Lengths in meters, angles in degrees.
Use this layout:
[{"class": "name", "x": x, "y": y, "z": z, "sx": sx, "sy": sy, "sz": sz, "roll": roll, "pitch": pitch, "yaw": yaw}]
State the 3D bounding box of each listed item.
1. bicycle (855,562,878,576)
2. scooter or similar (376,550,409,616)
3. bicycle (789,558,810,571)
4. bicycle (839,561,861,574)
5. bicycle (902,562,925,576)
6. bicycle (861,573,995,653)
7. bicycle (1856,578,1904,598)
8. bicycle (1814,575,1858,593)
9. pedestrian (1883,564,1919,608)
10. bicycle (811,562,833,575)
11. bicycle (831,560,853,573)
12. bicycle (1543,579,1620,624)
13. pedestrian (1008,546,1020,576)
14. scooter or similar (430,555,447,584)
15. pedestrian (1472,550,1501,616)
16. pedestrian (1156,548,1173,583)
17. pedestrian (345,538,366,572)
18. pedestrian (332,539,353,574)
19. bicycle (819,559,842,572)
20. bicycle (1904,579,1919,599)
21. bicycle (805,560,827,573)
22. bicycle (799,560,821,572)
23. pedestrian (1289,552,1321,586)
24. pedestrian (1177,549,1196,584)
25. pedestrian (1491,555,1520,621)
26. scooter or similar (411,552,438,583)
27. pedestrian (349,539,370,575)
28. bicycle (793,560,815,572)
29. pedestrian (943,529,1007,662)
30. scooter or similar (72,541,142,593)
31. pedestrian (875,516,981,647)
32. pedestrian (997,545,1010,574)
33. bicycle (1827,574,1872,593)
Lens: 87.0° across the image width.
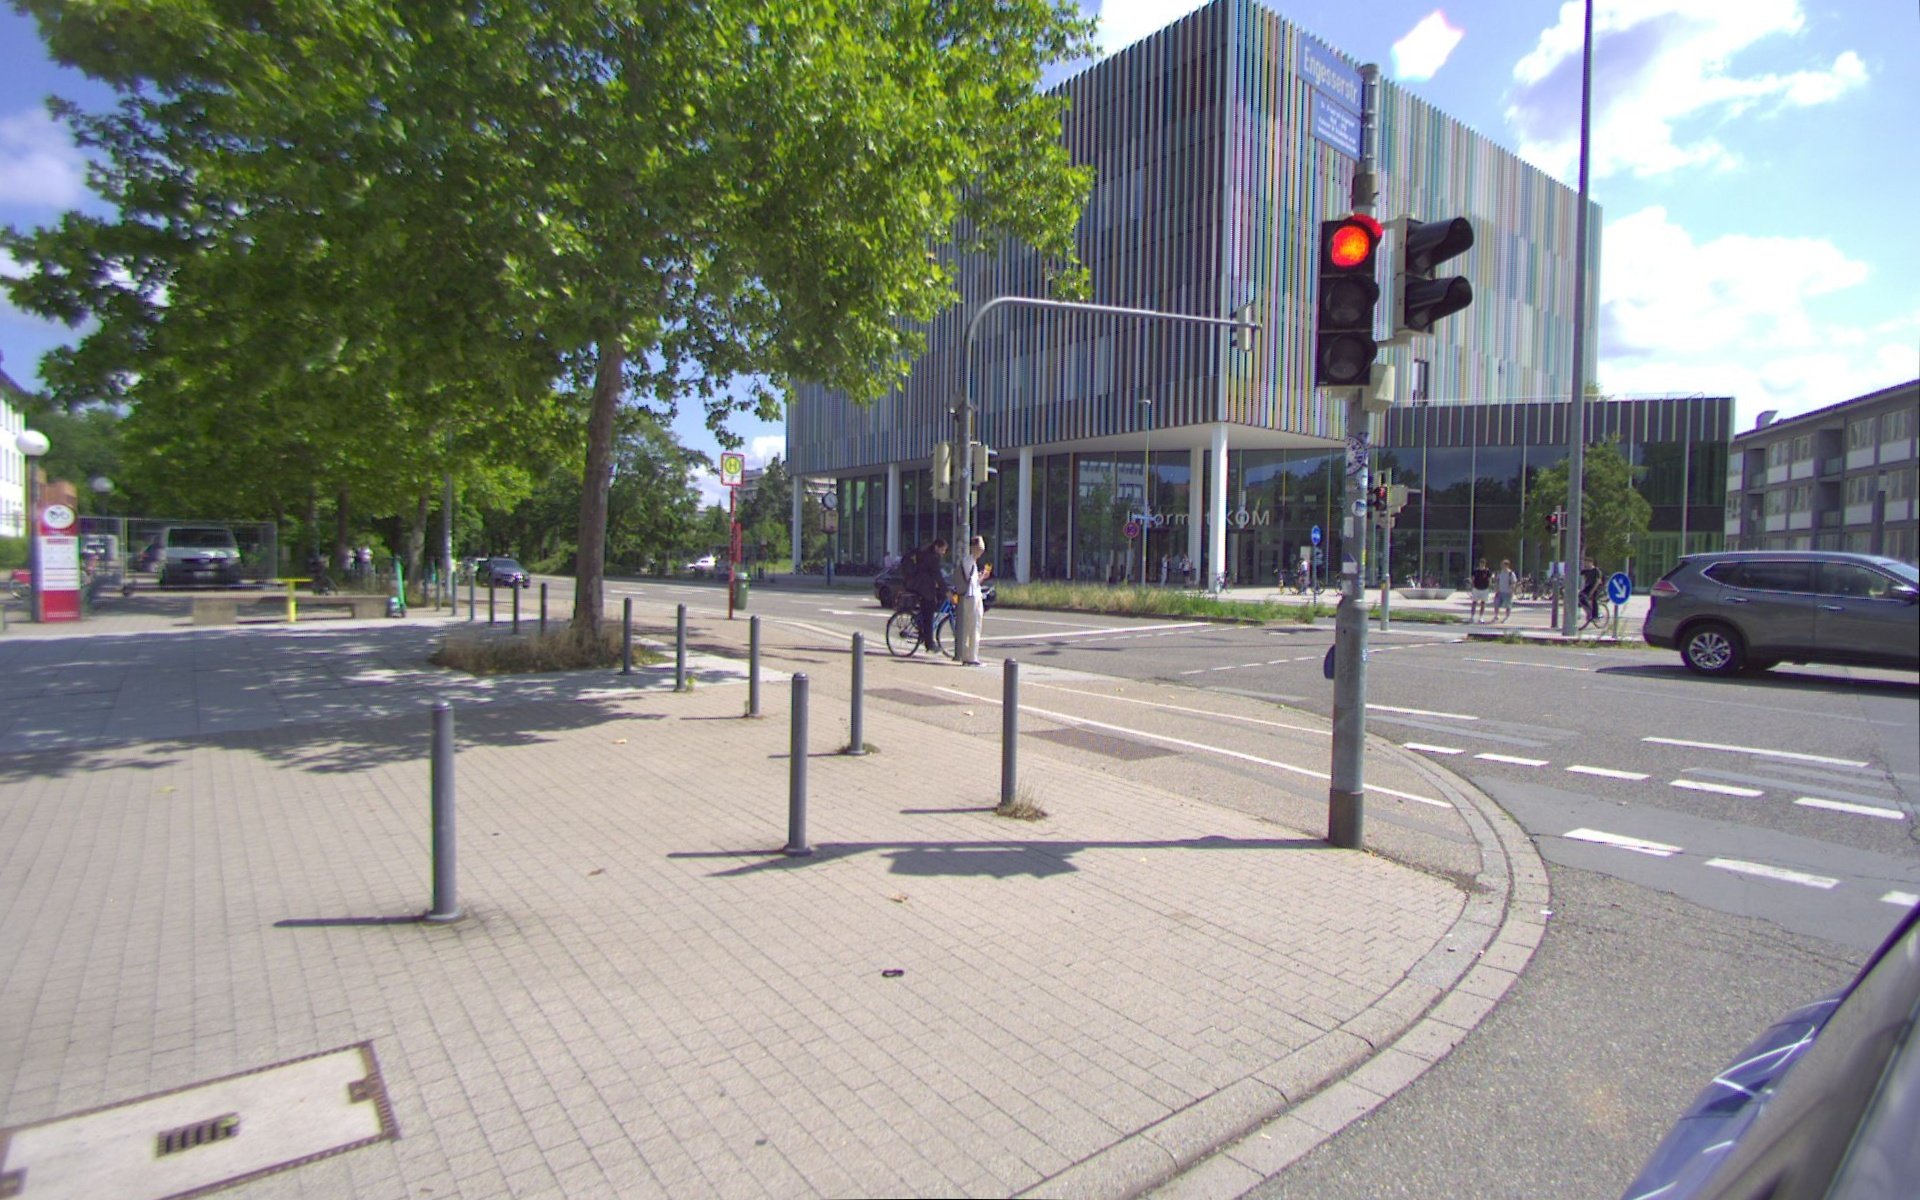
[{"class": "bicycle", "x": -6.892, "y": -2.291, "z": 74.558, "sx": 1.753, "sy": 0.967, "sz": 0.433, "roll": -3, "pitch": 4, "yaw": -38}, {"class": "scooter or similar", "x": -10.579, "y": -0.328, "z": 18.855, "sx": 0.347, "sy": 1.179, "sz": 1.192, "roll": -2, "pitch": 4, "yaw": -37}, {"class": "bicycle", "x": -13.081, "y": -2.910, "z": 82.547, "sx": 1.753, "sy": 0.967, "sz": 0.433, "roll": -3, "pitch": 4, "yaw": -38}, {"class": "bicycle", "x": -8.314, "y": -2.487, "z": 76.558, "sx": 1.753, "sy": 0.967, "sz": 0.433, "roll": -3, "pitch": 4, "yaw": -38}, {"class": "bicycle", "x": -3.186, "y": -2.139, "z": 69.434, "sx": 1.514, "sy": 0.967, "sz": 0.374, "roll": -2, "pitch": 3, "yaw": -23}, {"class": "bicycle", "x": -0.471, "y": 0.211, "z": 15.365, "sx": 1.856, "sy": 1.086, "sz": 0.818, "roll": 4, "pitch": 1, "yaw": -38}, {"class": "bicycle", "x": 48.895, "y": -0.651, "z": 53.796, "sx": 1.755, "sy": 0.966, "sz": 0.525, "roll": 2, "pitch": 4, "yaw": 25}, {"class": "bicycle", "x": 49.818, "y": -0.906, "z": 57.575, "sx": 1.755, "sy": 0.966, "sz": 0.525, "roll": 2, "pitch": 4, "yaw": 25}, {"class": "pedestrian", "x": 39.244, "y": -0.606, "z": 42.215, "sx": 0.834, "sy": 1.812, "sz": 0.672, "roll": 2, "pitch": 2, "yaw": 23}, {"class": "bicycle", "x": -10.902, "y": -2.462, "z": 79.773, "sx": 1.753, "sy": 0.967, "sz": 0.433, "roll": -3, "pitch": 4, "yaw": -38}, {"class": "bicycle", "x": -8.995, "y": -2.546, "z": 77.217, "sx": 1.753, "sy": 0.967, "sz": 0.433, "roll": -3, "pitch": 4, "yaw": -38}, {"class": "bicycle", "x": 16.678, "y": 0.031, "z": 27.193, "sx": 1.653, "sy": 1.138, "sz": 0.689, "roll": 2, "pitch": 2, "yaw": 25}, {"class": "pedestrian", "x": 3.424, "y": -2.461, "z": 63.941, "sx": 0.553, "sy": 1.864, "sz": 0.553, "roll": 3, "pitch": 3, "yaw": 45}, {"class": "scooter or similar", "x": -21.639, "y": -1.274, "z": 42.026, "sx": 0.519, "sy": 1.184, "sz": 1.578, "roll": 2, "pitch": 1, "yaw": -24}, {"class": "pedestrian", "x": 15.258, "y": -0.504, "z": 29.346, "sx": 0.630, "sy": 1.864, "sz": 0.473, "roll": 2, "pitch": 3, "yaw": 38}, {"class": "pedestrian", "x": 10.940, "y": -1.845, "z": 54.155, "sx": 0.773, "sy": 1.864, "sz": 0.518, "roll": 0, "pitch": 2, "yaw": -2}, {"class": "pedestrian", "x": -32.230, "y": -2.385, "z": 53.949, "sx": 0.670, "sy": 1.802, "sz": 0.793, "roll": -1, "pitch": 3, "yaw": -8}, {"class": "pedestrian", "x": -31.830, "y": -2.247, "z": 52.151, "sx": 0.670, "sy": 1.802, "sz": 0.793, "roll": -1, "pitch": 3, "yaw": -12}, {"class": "bicycle", "x": -10.022, "y": -2.700, "z": 78.395, "sx": 1.753, "sy": 0.967, "sz": 0.433, "roll": -3, "pitch": 4, "yaw": -38}, {"class": "bicycle", "x": 48.147, "y": -0.534, "z": 50.238, "sx": 1.755, "sy": 0.966, "sz": 0.525, "roll": 2, "pitch": 4, "yaw": 25}, {"class": "bicycle", "x": -11.399, "y": -2.680, "z": 80.366, "sx": 1.753, "sy": 0.967, "sz": 0.433, "roll": -3, "pitch": 4, "yaw": -38}, {"class": "bicycle", "x": -12.038, "y": -2.713, "z": 81.141, "sx": 1.753, "sy": 0.967, "sz": 0.433, "roll": -3, "pitch": 4, "yaw": -38}, {"class": "pedestrian", "x": 17.191, "y": -1.537, "z": 50.379, "sx": 1.161, "sy": 1.670, "sz": 1.015, "roll": 0, "pitch": 2, "yaw": -37}, {"class": "pedestrian", "x": 12.122, "y": -1.813, "z": 54.227, "sx": 0.677, "sy": 1.864, "sz": 0.679, "roll": -1, "pitch": 3, "yaw": -30}, {"class": "pedestrian", "x": 15.676, "y": -0.354, "z": 29.088, "sx": 0.409, "sy": 1.864, "sz": 0.574, "roll": -2, "pitch": 3, "yaw": -42}, {"class": "scooter or similar", "x": -23.160, "y": -1.398, "z": 43.784, "sx": 0.519, "sy": 1.262, "sz": 1.290, "roll": 2, "pitch": 0, "yaw": -4}, {"class": "pedestrian", "x": -31.027, "y": -2.229, "z": 52.321, "sx": 0.670, "sy": 1.802, "sz": 0.793, "roll": -1, "pitch": 3, "yaw": -13}, {"class": "bicycle", "x": -12.641, "y": -2.778, "z": 82.006, "sx": 1.753, "sy": 0.967, "sz": 0.433, "roll": -3, "pitch": 4, "yaw": -38}, {"class": "pedestrian", "x": 0.205, "y": -0.059, "z": 14.238, "sx": 0.599, "sy": 1.823, "sz": 0.596, "roll": 2, "pitch": 0, "yaw": -32}, {"class": "scooter or similar", "x": -20.967, "y": -0.824, "z": 24.899, "sx": 0.279, "sy": 1.248, "sz": 1.281, "roll": 4, "pitch": 4, "yaw": 37}, {"class": "pedestrian", "x": -0.483, "y": -0.278, "z": 15.329, "sx": 1.154, "sy": 1.842, "sz": 0.856, "roll": 5, "pitch": 2, "yaw": -38}, {"class": "pedestrian", "x": 2.817, "y": -2.633, "z": 65.537, "sx": 0.553, "sy": 1.864, "sz": 0.553, "roll": 3, "pitch": 3, "yaw": 45}, {"class": "bicycle", "x": 49.481, "y": -0.915, "z": 56.309, "sx": 1.755, "sy": 0.966, "sz": 0.525, "roll": 2, "pitch": 4, "yaw": 25}]
